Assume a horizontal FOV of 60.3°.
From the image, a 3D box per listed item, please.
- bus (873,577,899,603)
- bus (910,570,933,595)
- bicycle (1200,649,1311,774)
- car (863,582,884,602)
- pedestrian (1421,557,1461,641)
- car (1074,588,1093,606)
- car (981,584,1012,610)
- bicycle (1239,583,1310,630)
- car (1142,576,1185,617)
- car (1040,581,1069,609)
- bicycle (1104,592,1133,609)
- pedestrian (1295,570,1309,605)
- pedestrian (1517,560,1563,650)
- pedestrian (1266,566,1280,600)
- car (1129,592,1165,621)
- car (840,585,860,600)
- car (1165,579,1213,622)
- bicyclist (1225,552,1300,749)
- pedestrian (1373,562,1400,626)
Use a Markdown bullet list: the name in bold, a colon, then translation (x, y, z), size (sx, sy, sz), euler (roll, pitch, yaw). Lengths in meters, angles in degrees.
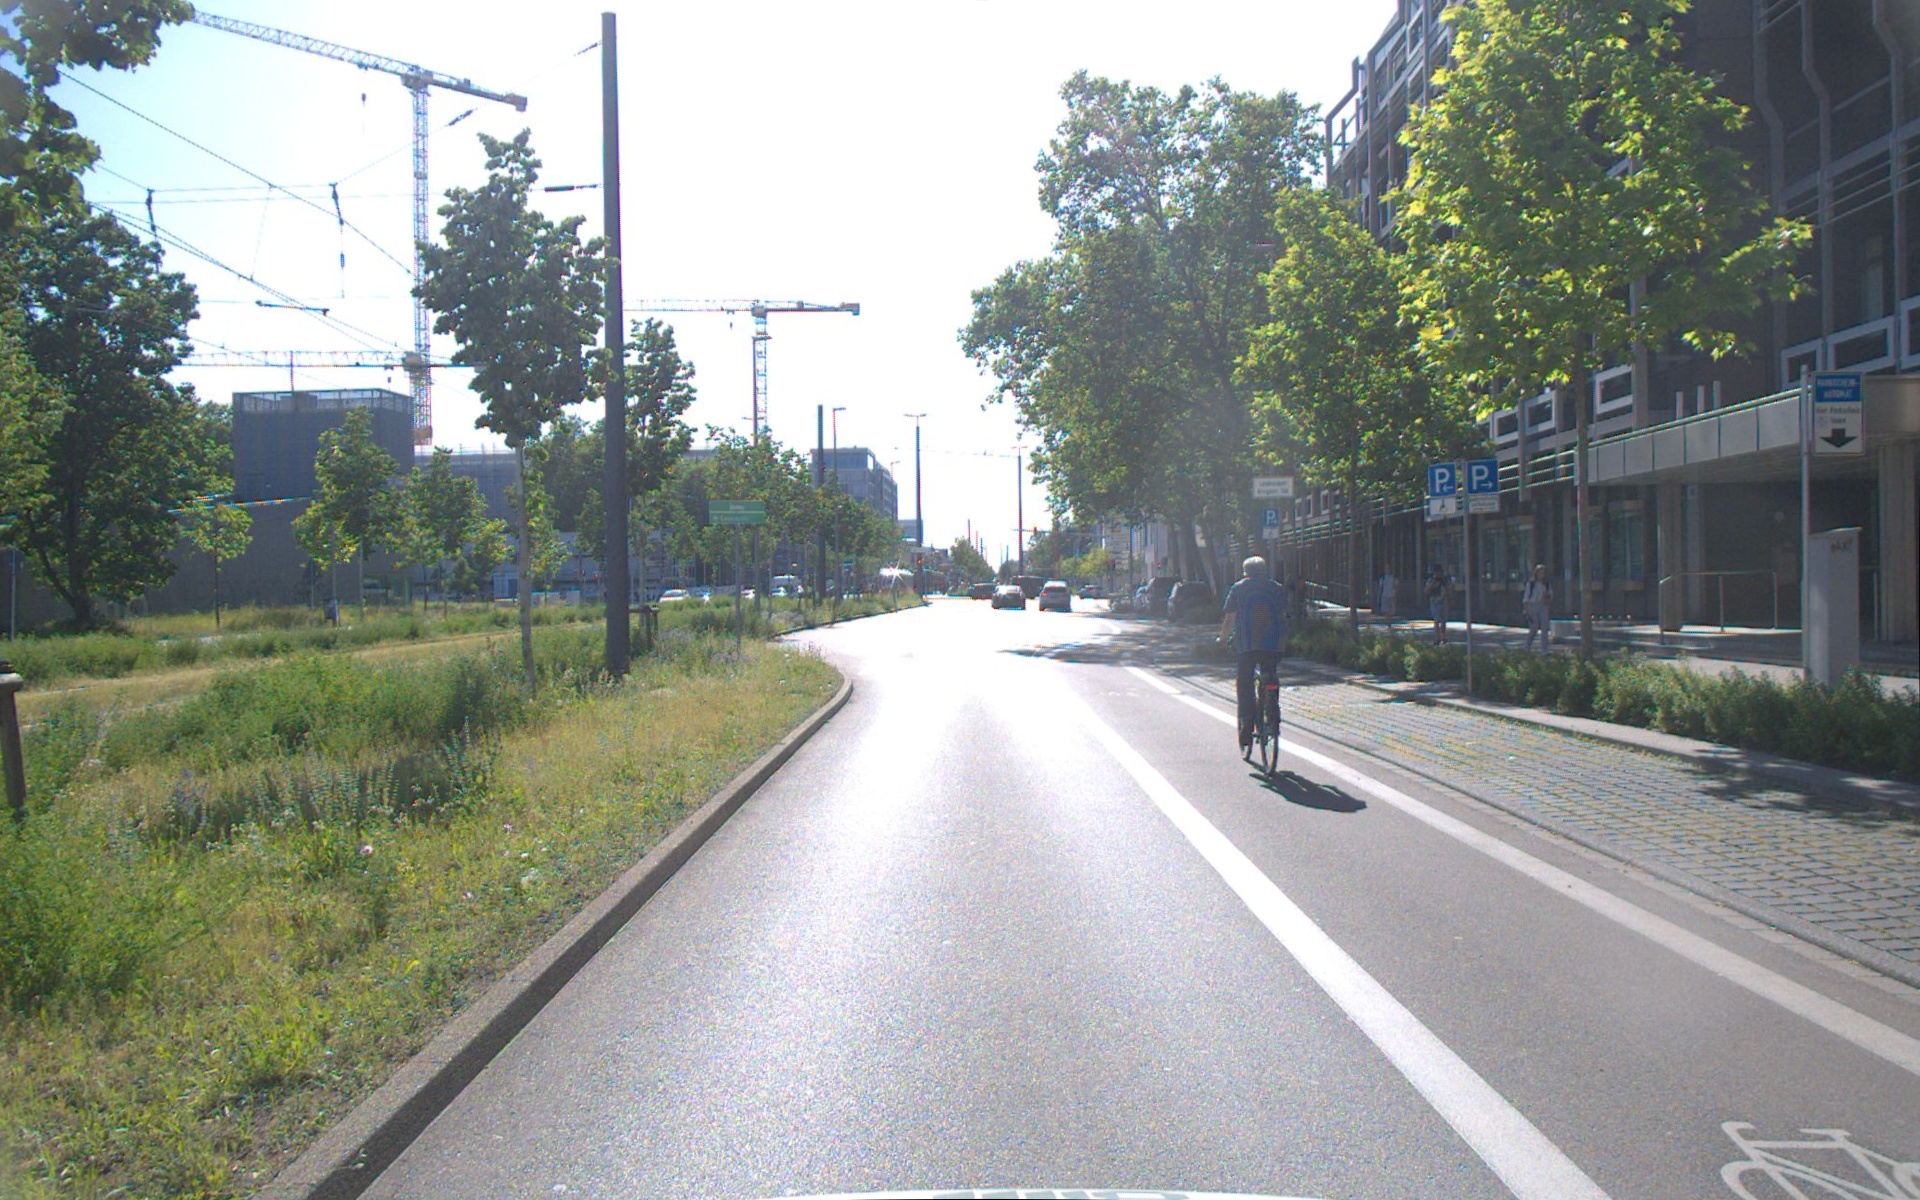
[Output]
- **bus**: translation (-8.710, -1.150, 195.300), size (2.574, 2.832, 8.844), euler (1, 0, 0)
- **bus**: translation (-4.886, -2.220, 212.321), size (2.574, 3.011, 9.898), euler (1, 0, 0)
- **bicycle**: translation (2.521, 0.925, 14.333), size (0.487, 0.921, 2.196), euler (1, 0, -2)
- **car**: translation (-8.541, -0.789, 163.993), size (1.858, 1.847, 3.999), euler (1, 0, -1)
- **pedestrian**: translation (10.189, -0.025, 35.044), size (0.634, 1.758, 0.803), euler (0, 0, 2)
- **car**: translation (12.282, -0.294, 164.264), size (1.628, 1.678, 3.701), euler (1, 0, 1)
- **car**: translation (2.303, -0.200, 103.691), size (1.872, 1.512, 4.011), euler (-1, 1, 2)
- **bicycle**: translation (9.210, 0.186, 48.493), size (1.898, 1.258, 0.579), euler (-4, 0, -1)
- **car**: translation (9.623, -0.189, 78.474), size (1.668, 1.821, 4.194), euler (-3, 1, 3)
- **car**: translation (5.731, -0.338, 99.952), size (1.685, 1.646, 4.189), euler (0, 1, 4)
- **bicycle**: translation (9.543, 0.022, 99.452), size (1.659, 0.974, 0.478), euler (-2, 0, -2)
- **pedestrian**: translation (16.254, -0.597, 78.562), size (0.542, 1.631, 0.573), euler (0, 0, 3)
- **pedestrian**: translation (10.008, 0.080, 28.548), size (0.500, 1.500, 0.736), euler (-2, 0, 2)
- **pedestrian**: translation (14.854, -0.803, 78.471), size (0.495, 1.612, 0.634), euler (-1, 0, -6)
- **car**: translation (10.295, 0.326, 91.070), size (1.668, 1.518, 4.602), euler (-1, 1, 3)
- **car**: translation (-8.994, -0.592, 135.363), size (1.348, 1.199, 3.221), euler (1, 0, 2)
- **car**: translation (9.266, -0.011, 67.205), size (1.668, 1.672, 4.639), euler (0, 1, 4)
- **bicyclist**: translation (2.560, 0.418, 14.038), size (0.502, 1.629, 0.536), euler (-1, 0, -2)
- **pedestrian**: translation (11.821, -0.168, 45.822), size (0.500, 1.730, 0.774), euler (-3, 0, 2)
